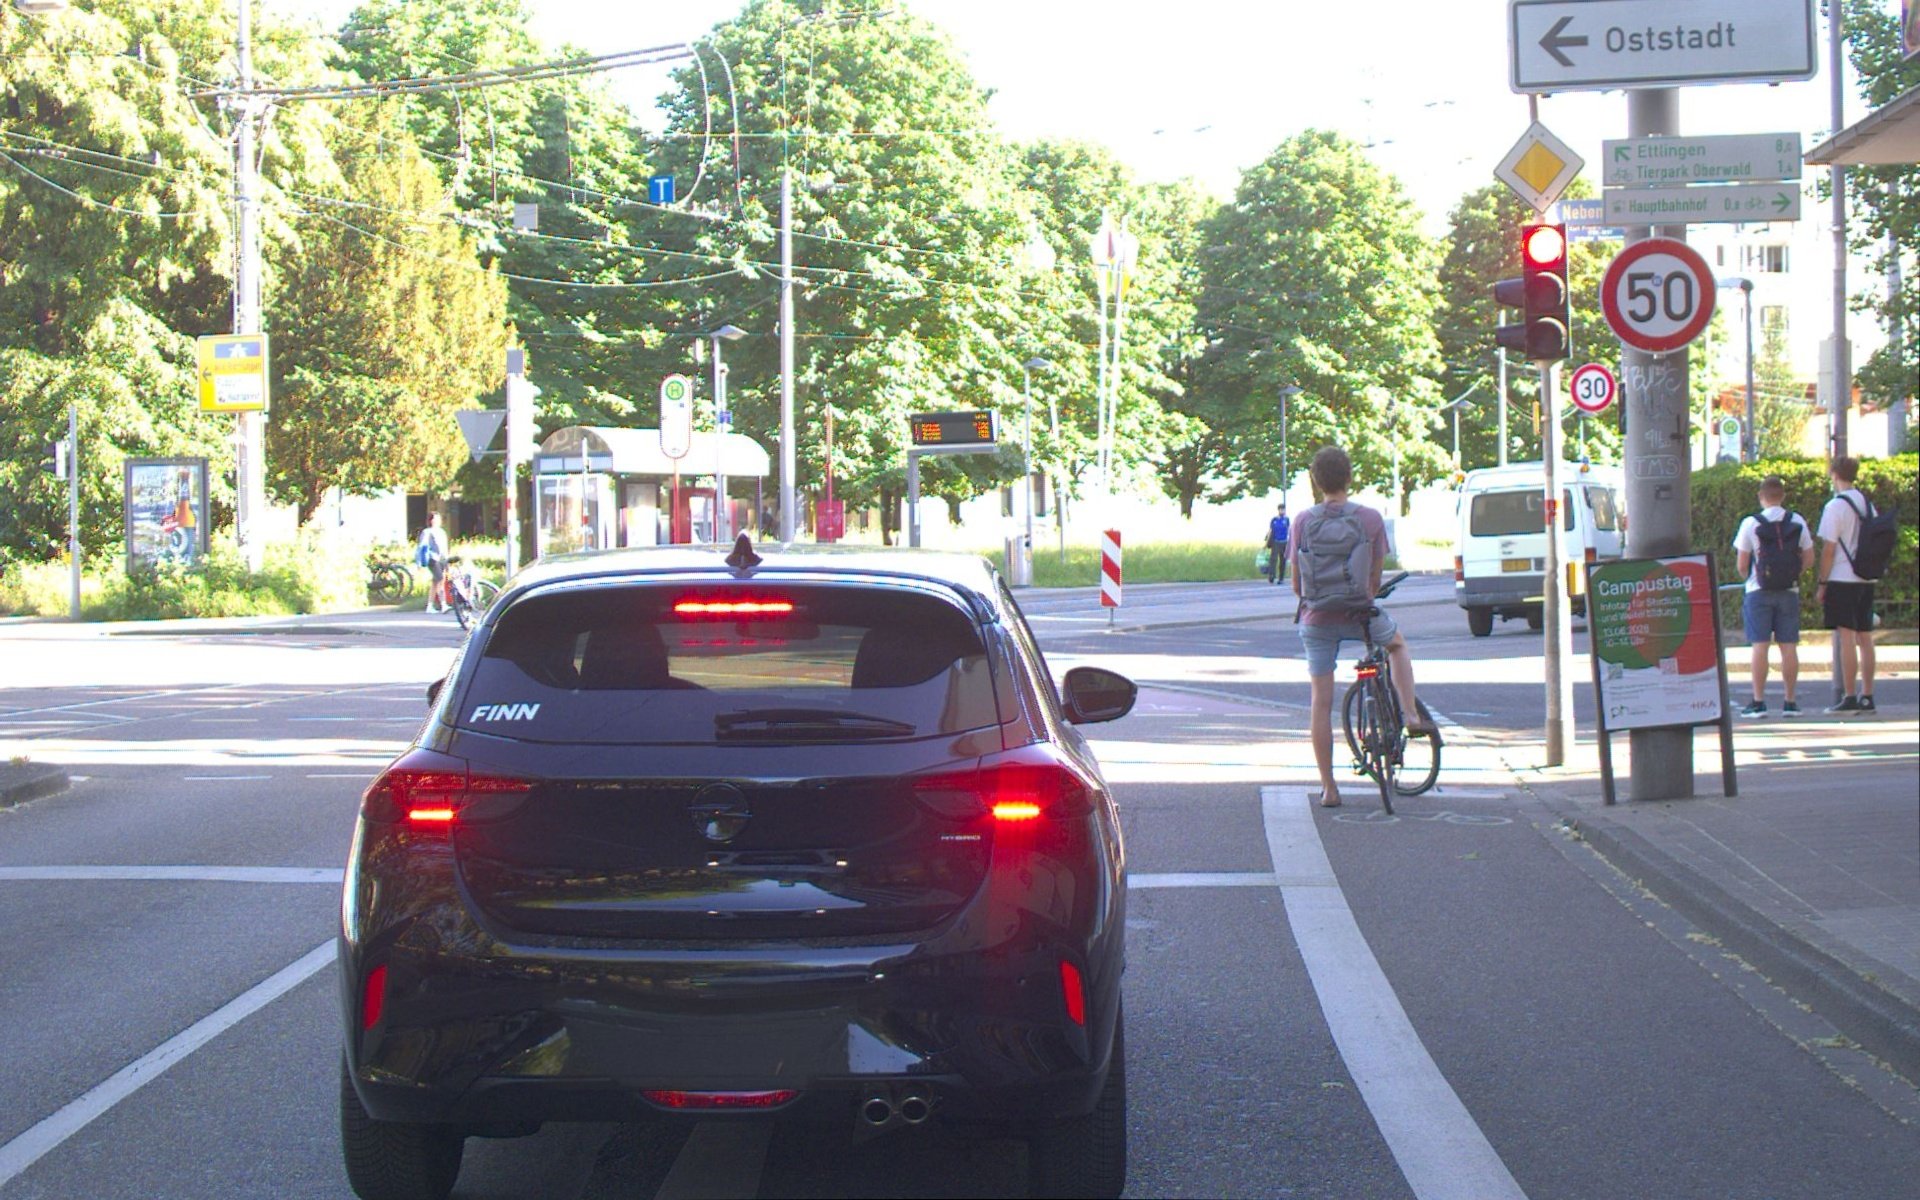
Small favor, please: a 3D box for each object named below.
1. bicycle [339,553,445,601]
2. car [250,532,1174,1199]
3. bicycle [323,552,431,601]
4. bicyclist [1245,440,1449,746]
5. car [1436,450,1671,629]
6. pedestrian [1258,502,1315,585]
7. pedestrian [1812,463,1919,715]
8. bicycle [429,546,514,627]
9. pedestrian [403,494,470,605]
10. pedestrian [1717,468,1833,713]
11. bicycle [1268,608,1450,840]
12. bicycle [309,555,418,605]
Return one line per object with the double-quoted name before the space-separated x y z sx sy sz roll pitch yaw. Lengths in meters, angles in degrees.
"bicycle" -10.854 -0.444 65.697 1.877 0.903 0.659 0 1 7
"car" -0.454 0.565 8.713 1.800 1.436 3.940 -1 1 1
"bicycle" -10.993 -0.437 64.826 1.877 0.903 0.659 0 1 7
"bicyclist" 1.972 -0.052 17.685 0.840 1.504 1.369 0 1 -2
"car" 7.996 -0.790 46.025 2.092 2.270 4.301 1 1 24
"pedestrian" 7.132 -1.230 75.016 0.959 1.786 0.994 0 1 25
"pedestrian" 6.819 -0.091 25.549 0.704 1.840 0.699 0 2 39
"bicycle" -6.613 -0.191 46.635 0.825 1.056 1.883 0 1 2
"pedestrian" -8.081 -0.785 53.052 0.727 1.687 0.699 0 2 37
"pedestrian" 6.034 -0.074 25.483 0.698 1.786 0.617 -1 1 -1
"bicycle" 2.018 0.600 17.627 0.667 1.056 2.082 0 1 -1
"bicycle" -11.077 -0.368 63.842 1.877 0.903 0.659 0 1 7
